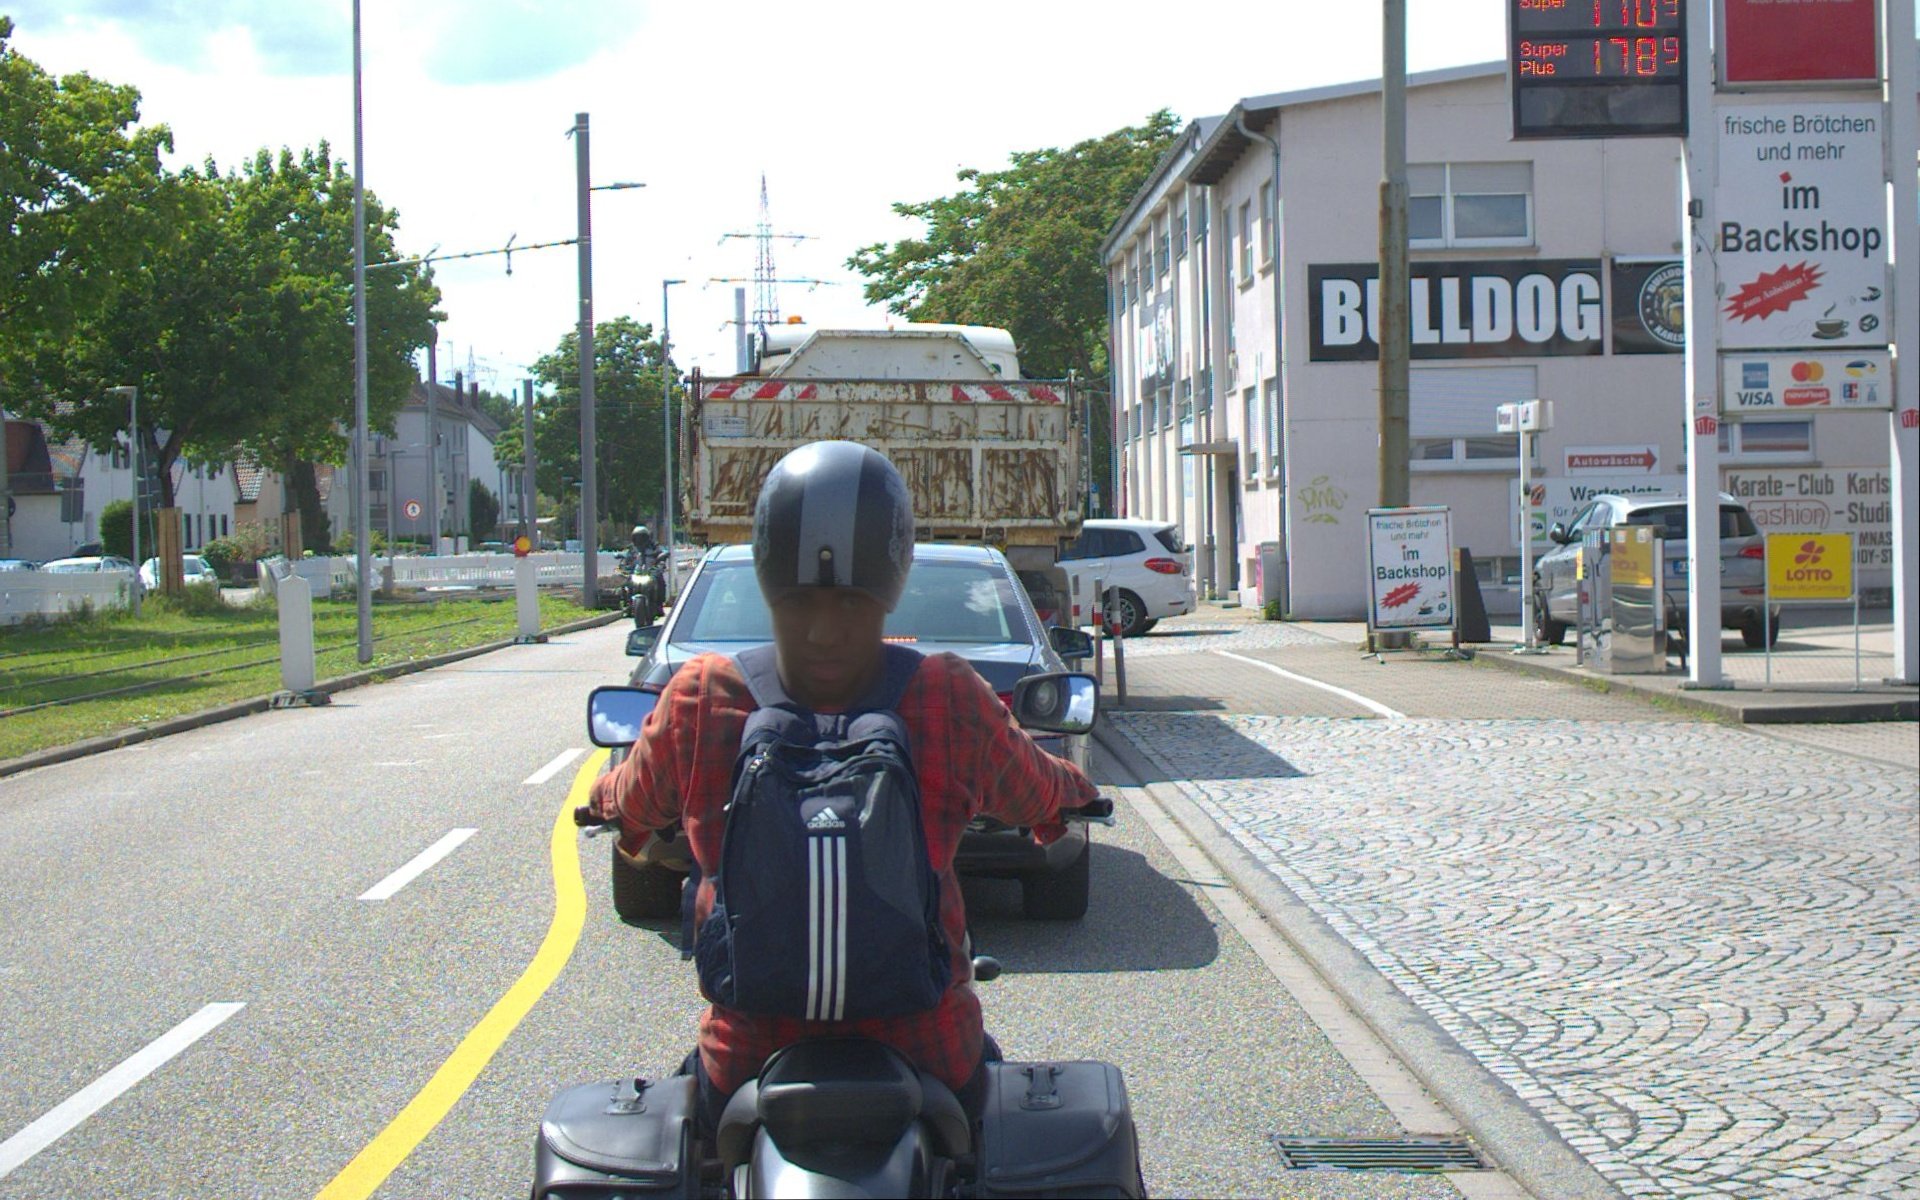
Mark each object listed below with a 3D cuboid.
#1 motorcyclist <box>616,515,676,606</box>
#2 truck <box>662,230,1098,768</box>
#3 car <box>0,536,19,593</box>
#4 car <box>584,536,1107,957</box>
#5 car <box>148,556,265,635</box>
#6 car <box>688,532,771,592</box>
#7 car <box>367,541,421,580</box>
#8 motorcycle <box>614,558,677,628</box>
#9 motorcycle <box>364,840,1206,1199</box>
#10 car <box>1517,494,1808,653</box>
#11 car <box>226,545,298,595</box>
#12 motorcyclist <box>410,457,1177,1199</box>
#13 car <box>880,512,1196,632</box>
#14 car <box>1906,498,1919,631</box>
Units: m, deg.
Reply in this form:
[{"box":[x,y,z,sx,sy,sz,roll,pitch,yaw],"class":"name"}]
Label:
[{"box":[-4.808,-0.614,52.701,0.868,1.373,0.800,-1,1,-3],"class":"motorcyclist"},{"box":[-0.540,-0.718,25.369,2.638,3.285,8.057,-1,1,-1],"class":"truck"},{"box":[-30.038,-1.067,104.413,1.776,1.717,4.128,-1,1,0],"class":"car"},{"box":[-0.427,0.480,14.128,1.823,1.447,4.000,1,1,-1],"class":"car"},{"box":[-17.492,-0.135,79.967,1.776,1.717,4.128,-1,1,0],"class":"car"},{"box":[-5.897,-0.995,88.391,1.823,1.447,4.324,-2,1,-1],"class":"car"},{"box":[-26.426,-1.858,160.668,1.776,1.717,4.250,-1,1,0],"class":"car"},{"box":[-4.803,-0.121,52.645,0.868,1.017,2.245,-1,1,-3],"class":"motorcycle"},{"box":[-0.211,0.952,5.344,0.979,0.894,2.653,-1,1,-1],"class":"motorcycle"},{"box":[7.382,-0.309,36.526,1.667,1.557,4.245,-1,1,-8],"class":"car"},{"box":[-25.411,-1.105,125.249,1.776,1.717,4.128,-1,1,0],"class":"car"},{"box":[-0.215,0.610,5.033,0.979,1.597,1.088,-1,1,-1],"class":"motorcyclist"},{"box":[1.081,-0.395,47.275,4.230,1.537,1.672,-1,1,2],"class":"car"},{"box":[11.737,-0.384,37.095,1.806,1.498,3.834,-1,1,-3],"class":"car"}]
